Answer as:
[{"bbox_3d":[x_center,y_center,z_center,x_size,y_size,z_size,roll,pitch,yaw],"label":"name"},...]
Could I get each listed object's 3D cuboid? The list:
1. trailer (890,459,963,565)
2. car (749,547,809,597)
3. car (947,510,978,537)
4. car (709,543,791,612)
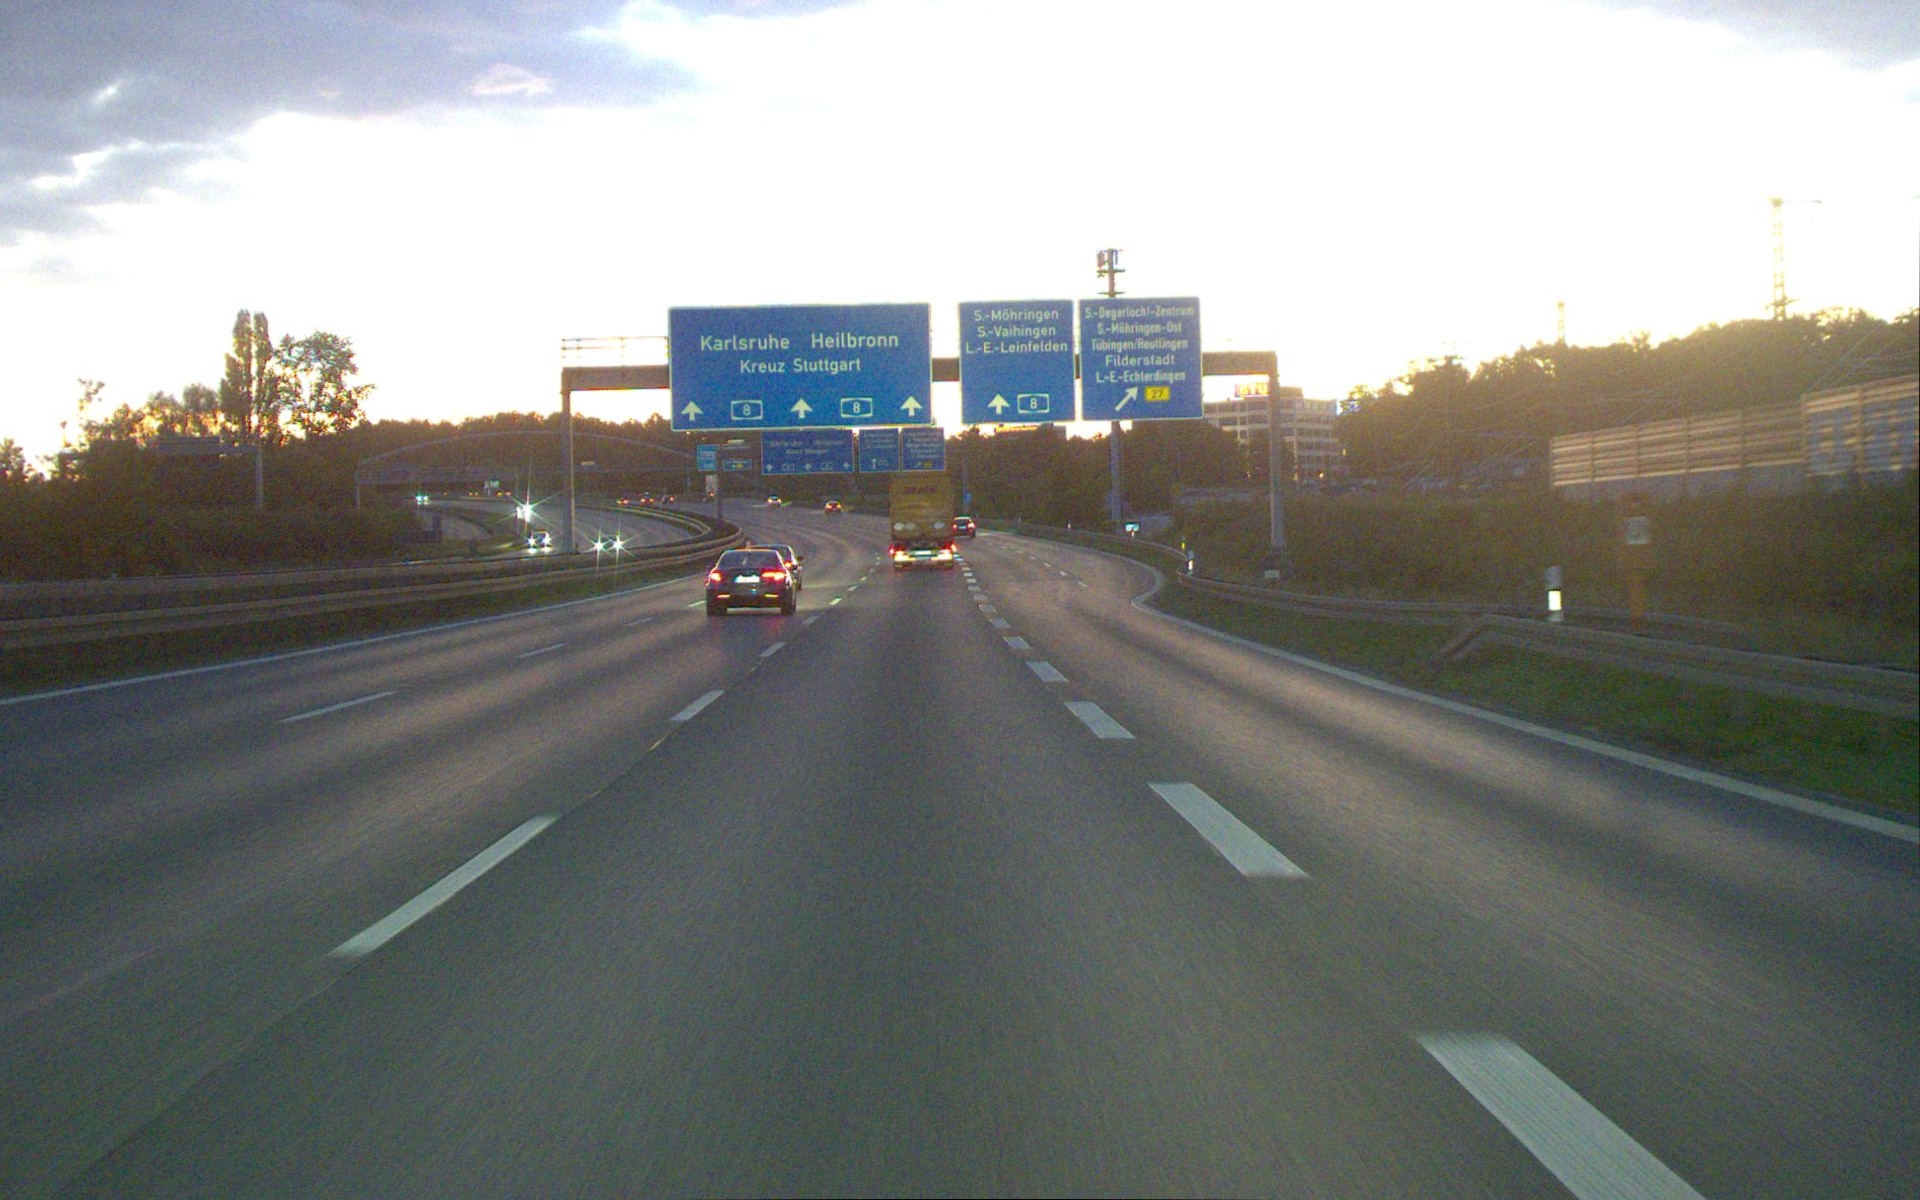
[{"bbox_3d":[-1.405,-3.700,142.033,2.722,4.057,8.832,-3,3,-1],"label":"trailer"},{"bbox_3d":[-5.484,-0.868,104.640,1.689,1.396,3.409,-4,1,-2],"label":"car"},{"bbox_3d":[0.166,-5.460,244.869,1.993,1.842,4.000,1,0,-2],"label":"car"},{"bbox_3d":[-4.631,-0.514,75.512,1.689,1.396,3.409,-3,1,-4],"label":"car"}]
